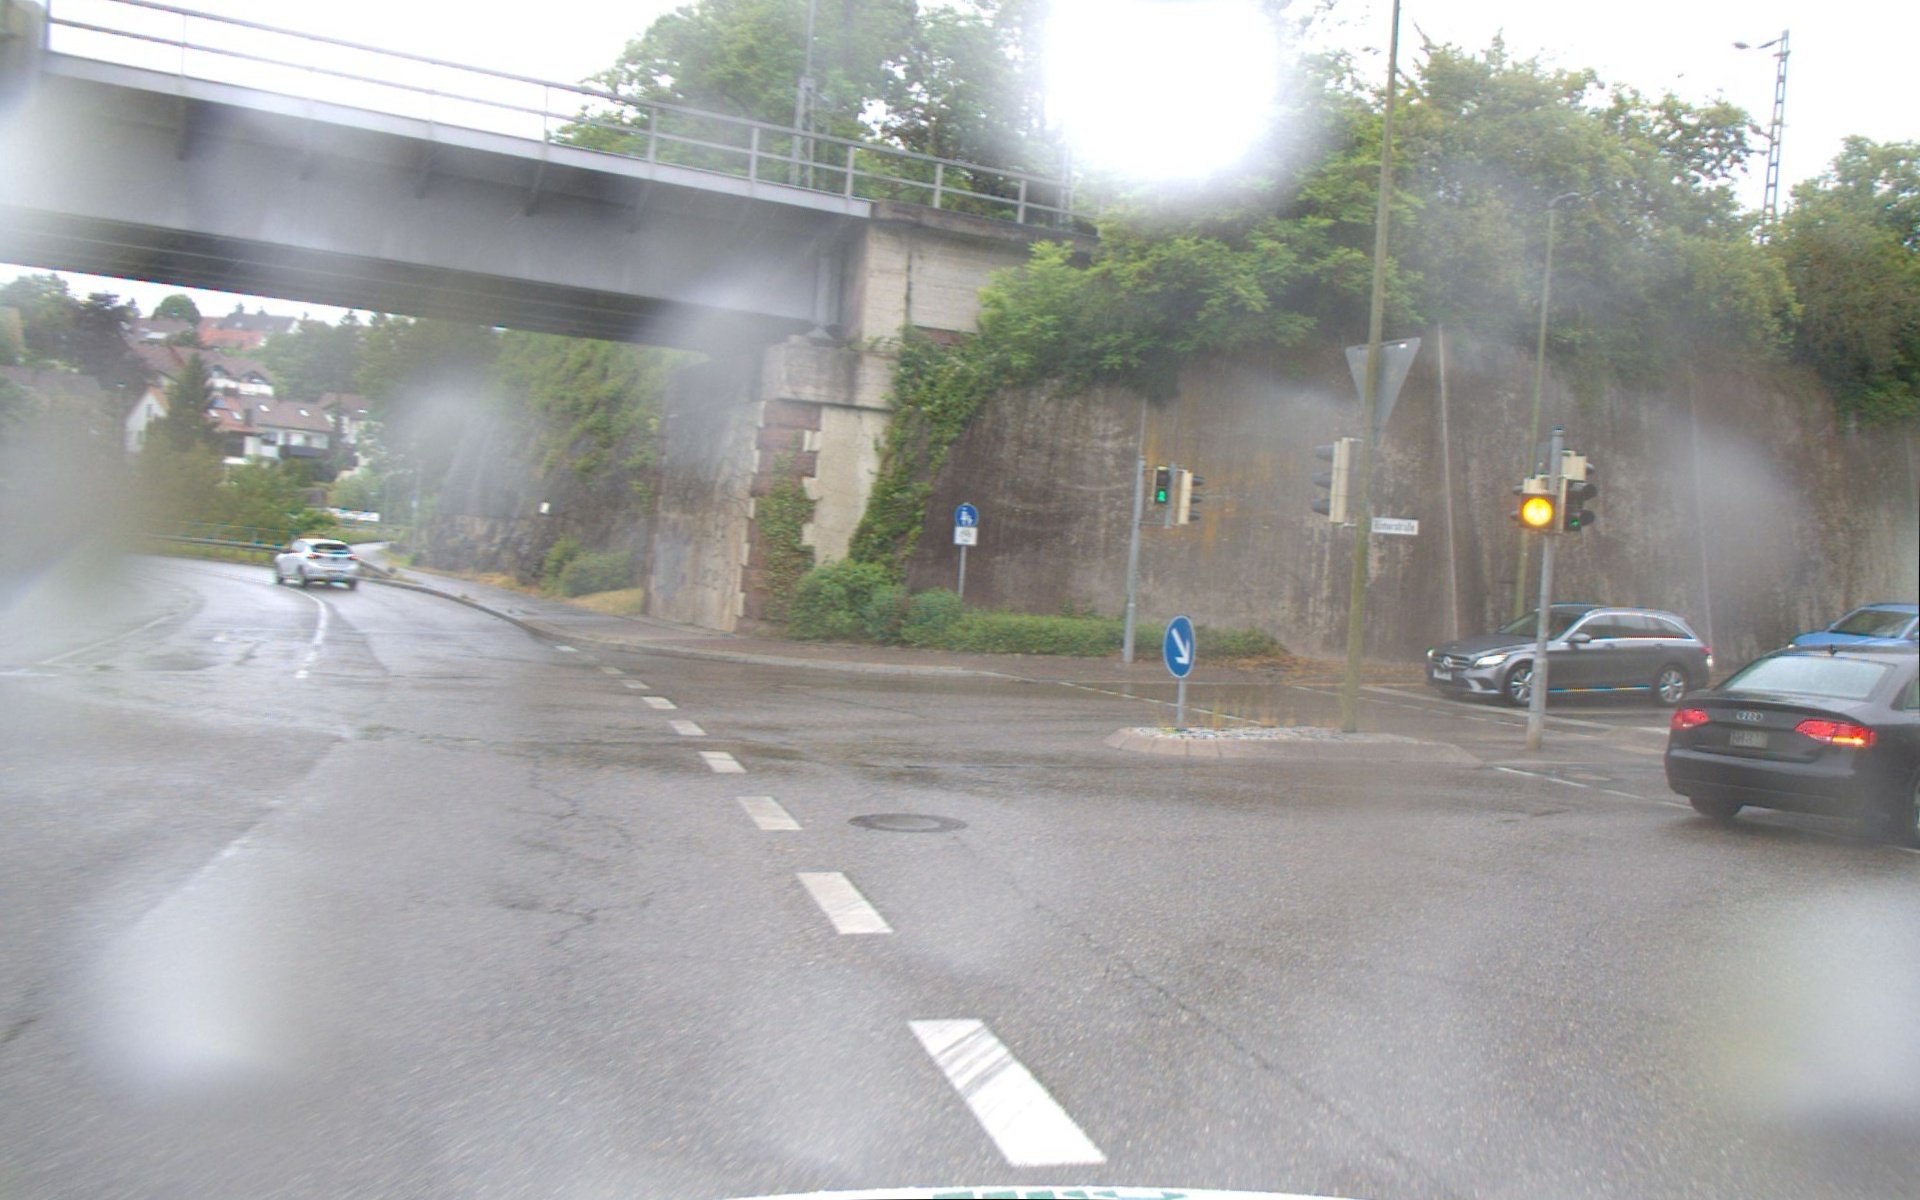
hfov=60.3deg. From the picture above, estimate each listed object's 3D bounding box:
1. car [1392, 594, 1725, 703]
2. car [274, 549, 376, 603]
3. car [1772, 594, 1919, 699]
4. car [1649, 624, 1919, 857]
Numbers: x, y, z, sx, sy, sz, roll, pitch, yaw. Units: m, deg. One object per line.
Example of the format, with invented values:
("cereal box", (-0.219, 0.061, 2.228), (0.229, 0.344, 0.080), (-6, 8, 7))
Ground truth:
("car", (9.168, 0.745, 25.371), (4.645, 1.529, 1.988), (2, 0, -21))
("car", (-19.932, -0.754, 51.825), (1.978, 1.590, 3.948), (2, 0, -37))
("car", (16.273, 0.804, 28.552), (3.978, 1.686, 1.810), (2, 0, -21))
("car", (7.498, 1.005, 13.198), (4.163, 1.518, 1.874), (2, 0, -38))
